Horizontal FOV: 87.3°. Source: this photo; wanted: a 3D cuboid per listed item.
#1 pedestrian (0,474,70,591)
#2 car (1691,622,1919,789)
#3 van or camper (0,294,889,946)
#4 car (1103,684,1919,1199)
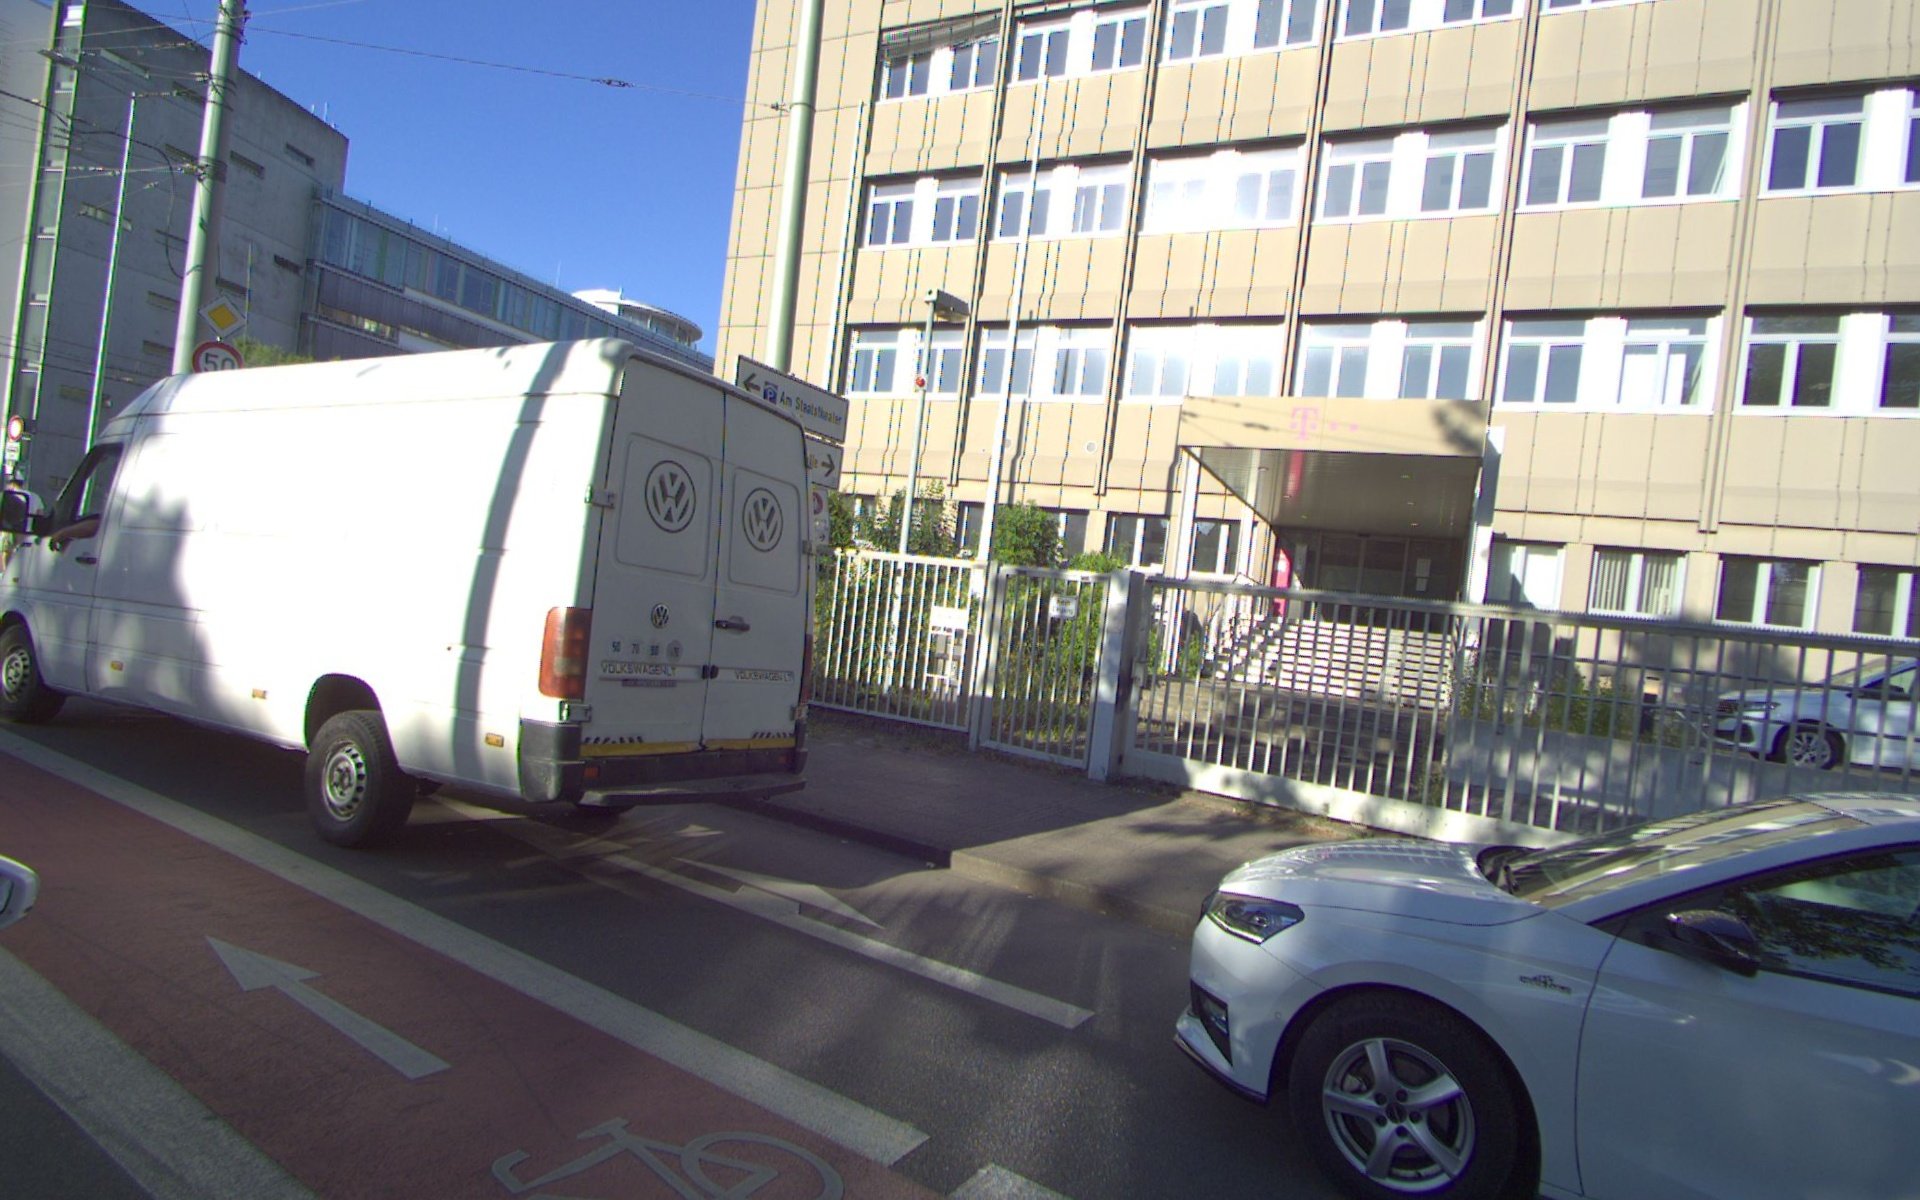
[{"bbox_3d":[-15.897,-1.150,17.049,1.195,1.846,0.778,7,1,32],"label":"pedestrian"},{"bbox_3d":[12.814,1.531,13.245,4.701,1.865,1.998,7,0,27],"label":"car"},{"bbox_3d":[-3.746,-0.150,6.566,6.196,2.748,1.973,7,-1,29],"label":"van or camper"},{"bbox_3d":[2.686,1.253,3.012,4.006,1.405,1.705,7,-1,30],"label":"car"}]
